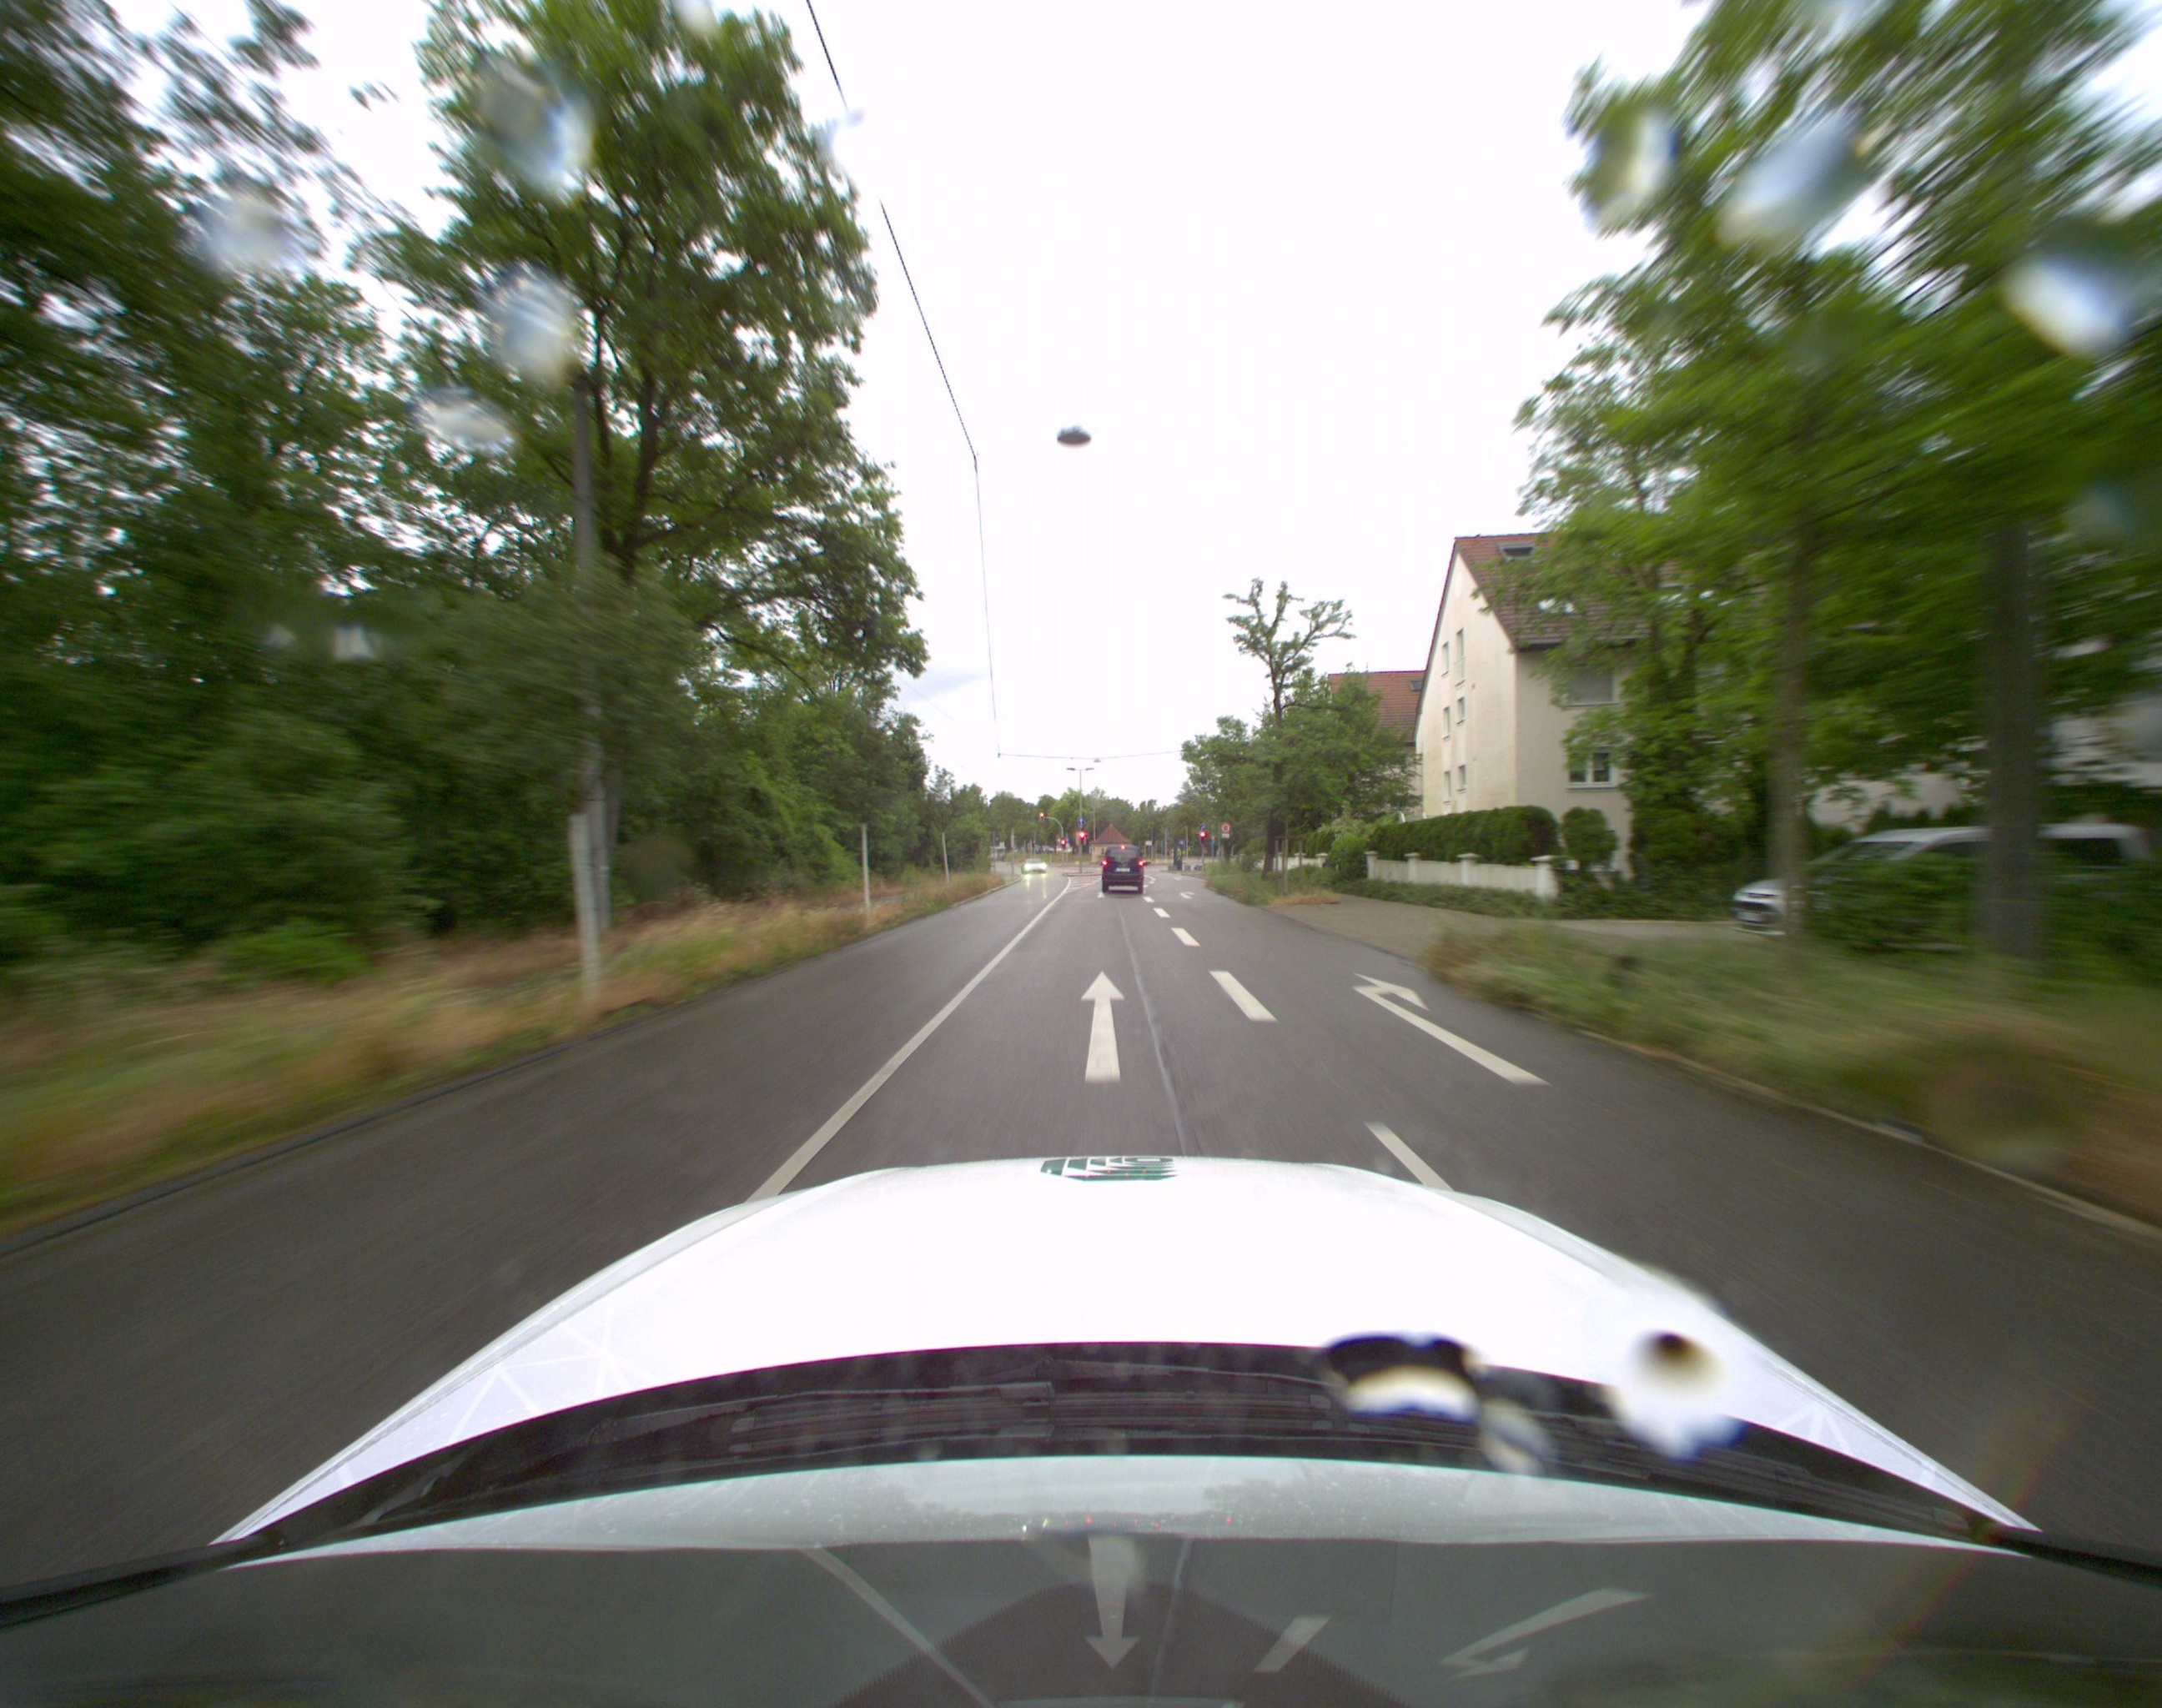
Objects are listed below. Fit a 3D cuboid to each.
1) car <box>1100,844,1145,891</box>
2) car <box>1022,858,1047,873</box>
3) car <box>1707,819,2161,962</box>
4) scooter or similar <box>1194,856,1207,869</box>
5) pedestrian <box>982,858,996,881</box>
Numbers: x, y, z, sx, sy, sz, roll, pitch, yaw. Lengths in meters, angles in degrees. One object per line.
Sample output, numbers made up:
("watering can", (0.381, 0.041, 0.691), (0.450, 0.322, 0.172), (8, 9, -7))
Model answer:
("car", (1.626, 0.513, 32.898), (1.725, 1.786, 4.001), (0, 0, 1))
("car", (-4.369, 1.051, 76.164), (1.992, 1.311, 4.349), (-3, 0, -7))
("car", (11.939, 0.457, 11.715), (4.276, 1.817, 1.880), (0, 0, 12))
("scooter or similar", (11.325, 0.853, 77.352), (1.144, 1.219, 0.406), (0, -2, 2))
("pedestrian", (-7.823, 1.325, 69.507), (1.085, 2.014, 0.999), (0, -1, -2))
